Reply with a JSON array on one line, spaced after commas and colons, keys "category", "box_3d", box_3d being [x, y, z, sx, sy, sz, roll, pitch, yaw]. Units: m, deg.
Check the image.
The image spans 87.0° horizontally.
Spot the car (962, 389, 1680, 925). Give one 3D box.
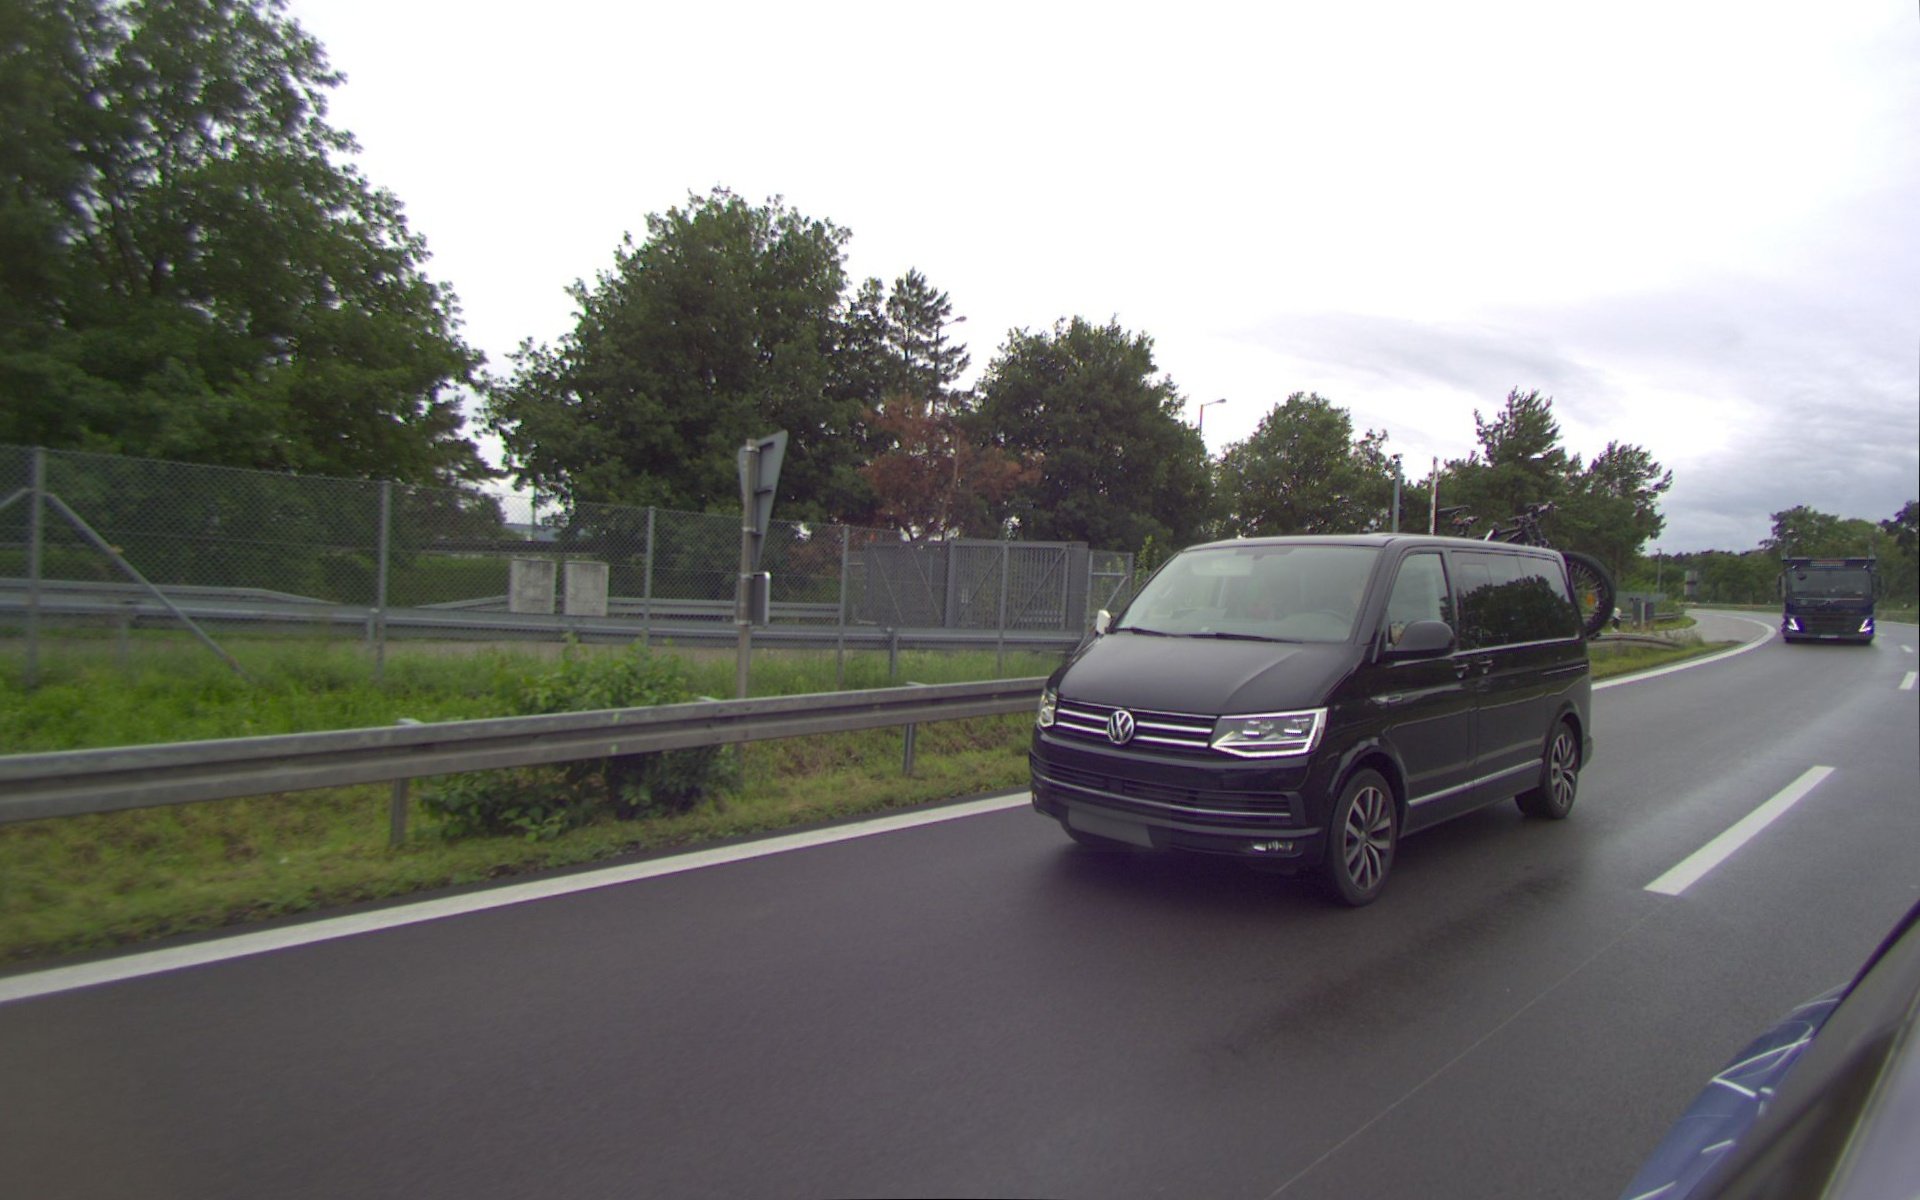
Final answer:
[{"category": "car", "box_3d": [2.887, 0.241, 7.033, 5.792, 2.293, 2.114, 0, -1, -41]}]

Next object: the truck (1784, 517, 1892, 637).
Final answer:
[{"category": "truck", "box_3d": [32.878, -0.765, 38.051, 2.735, 4.018, 8.995, -1, -1, 40]}]
